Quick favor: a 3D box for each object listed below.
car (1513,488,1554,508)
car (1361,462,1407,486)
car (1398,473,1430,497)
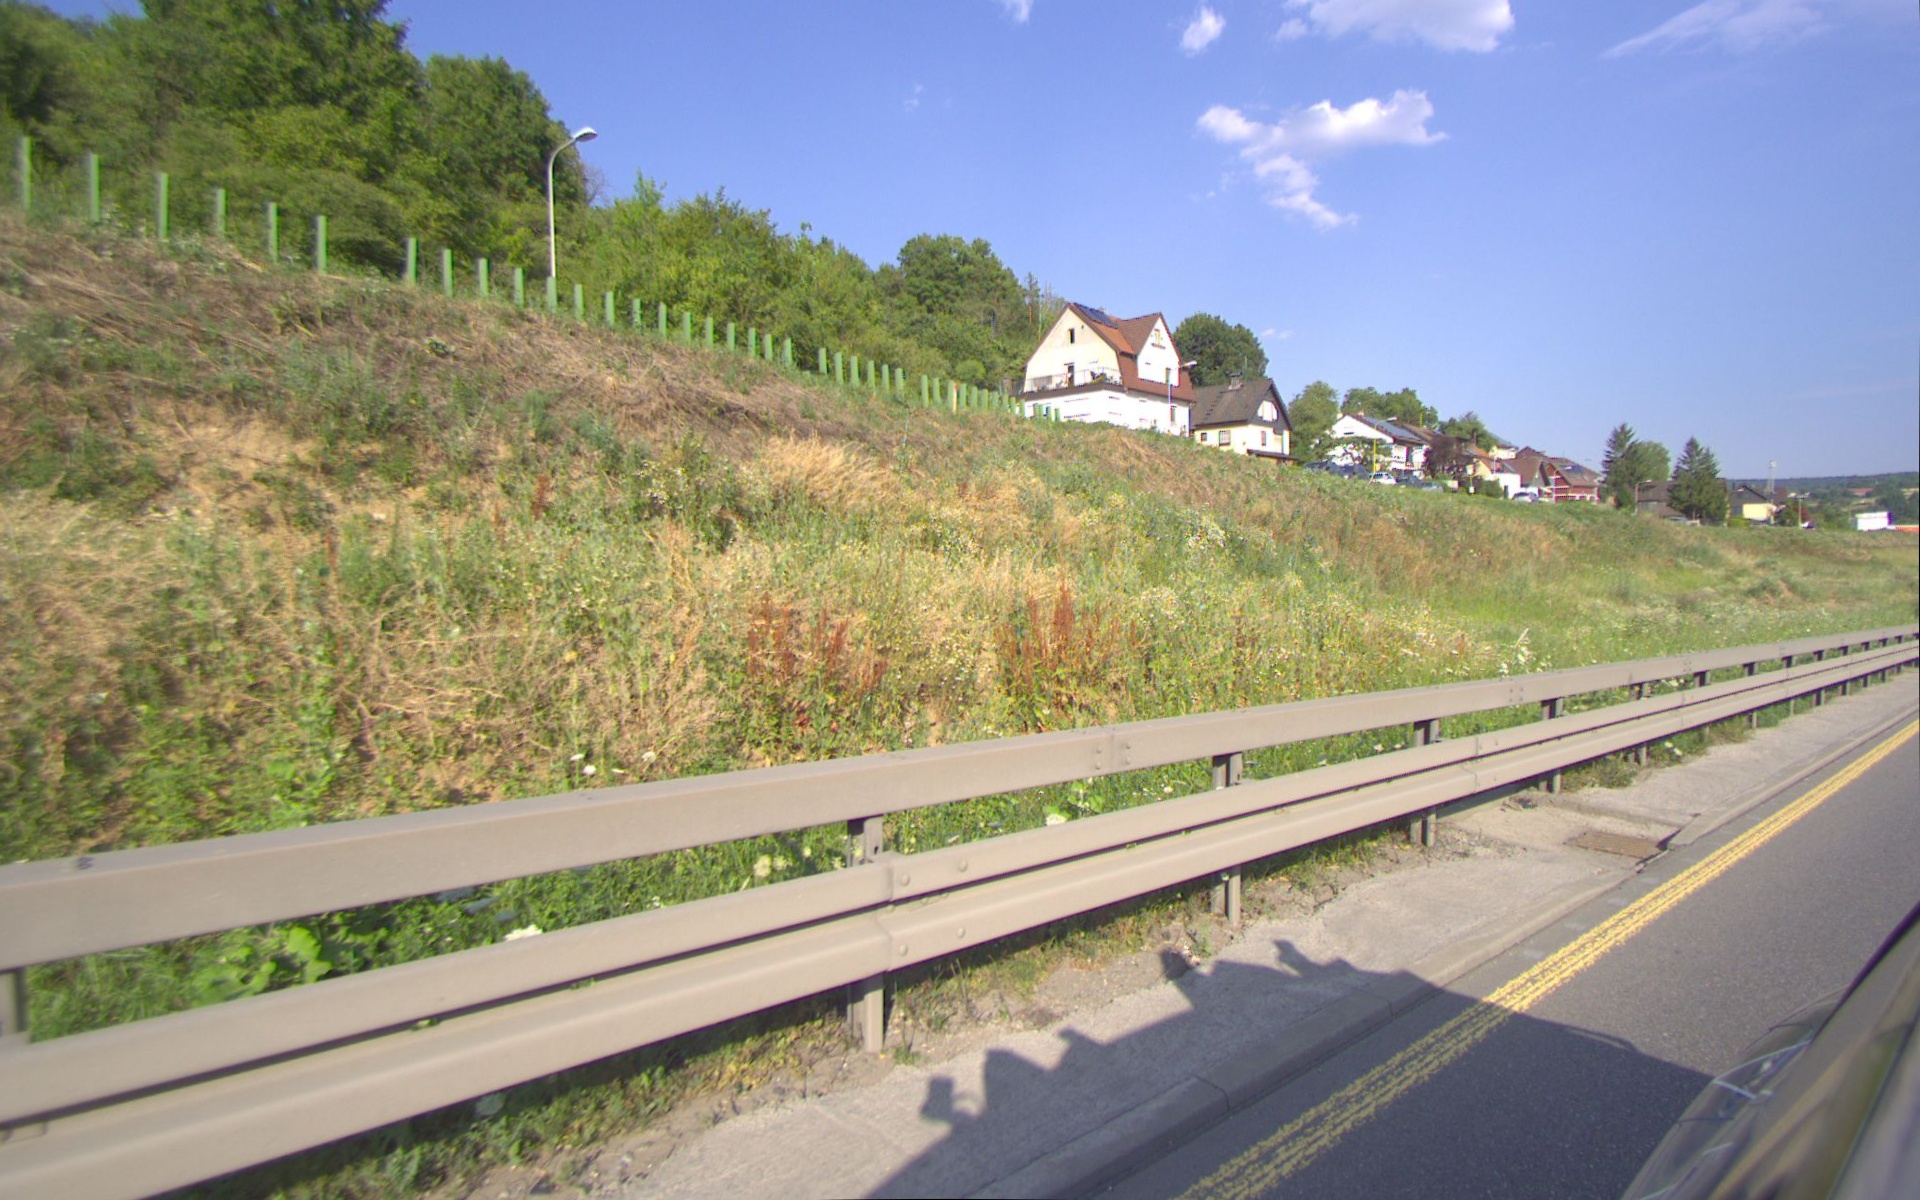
[{"bbox_3d":[51.208,-9.063,90.304,3.931,1.460,1.997,-1,1,-41],"label":"car"},{"bbox_3d":[27.914,-8.248,66.533,3.836,1.248,1.345,-2,1,-43],"label":"car"},{"bbox_3d":[31.574,-7.976,70.398,1.340,1.339,3.299,0,1,37],"label":"car"}]
